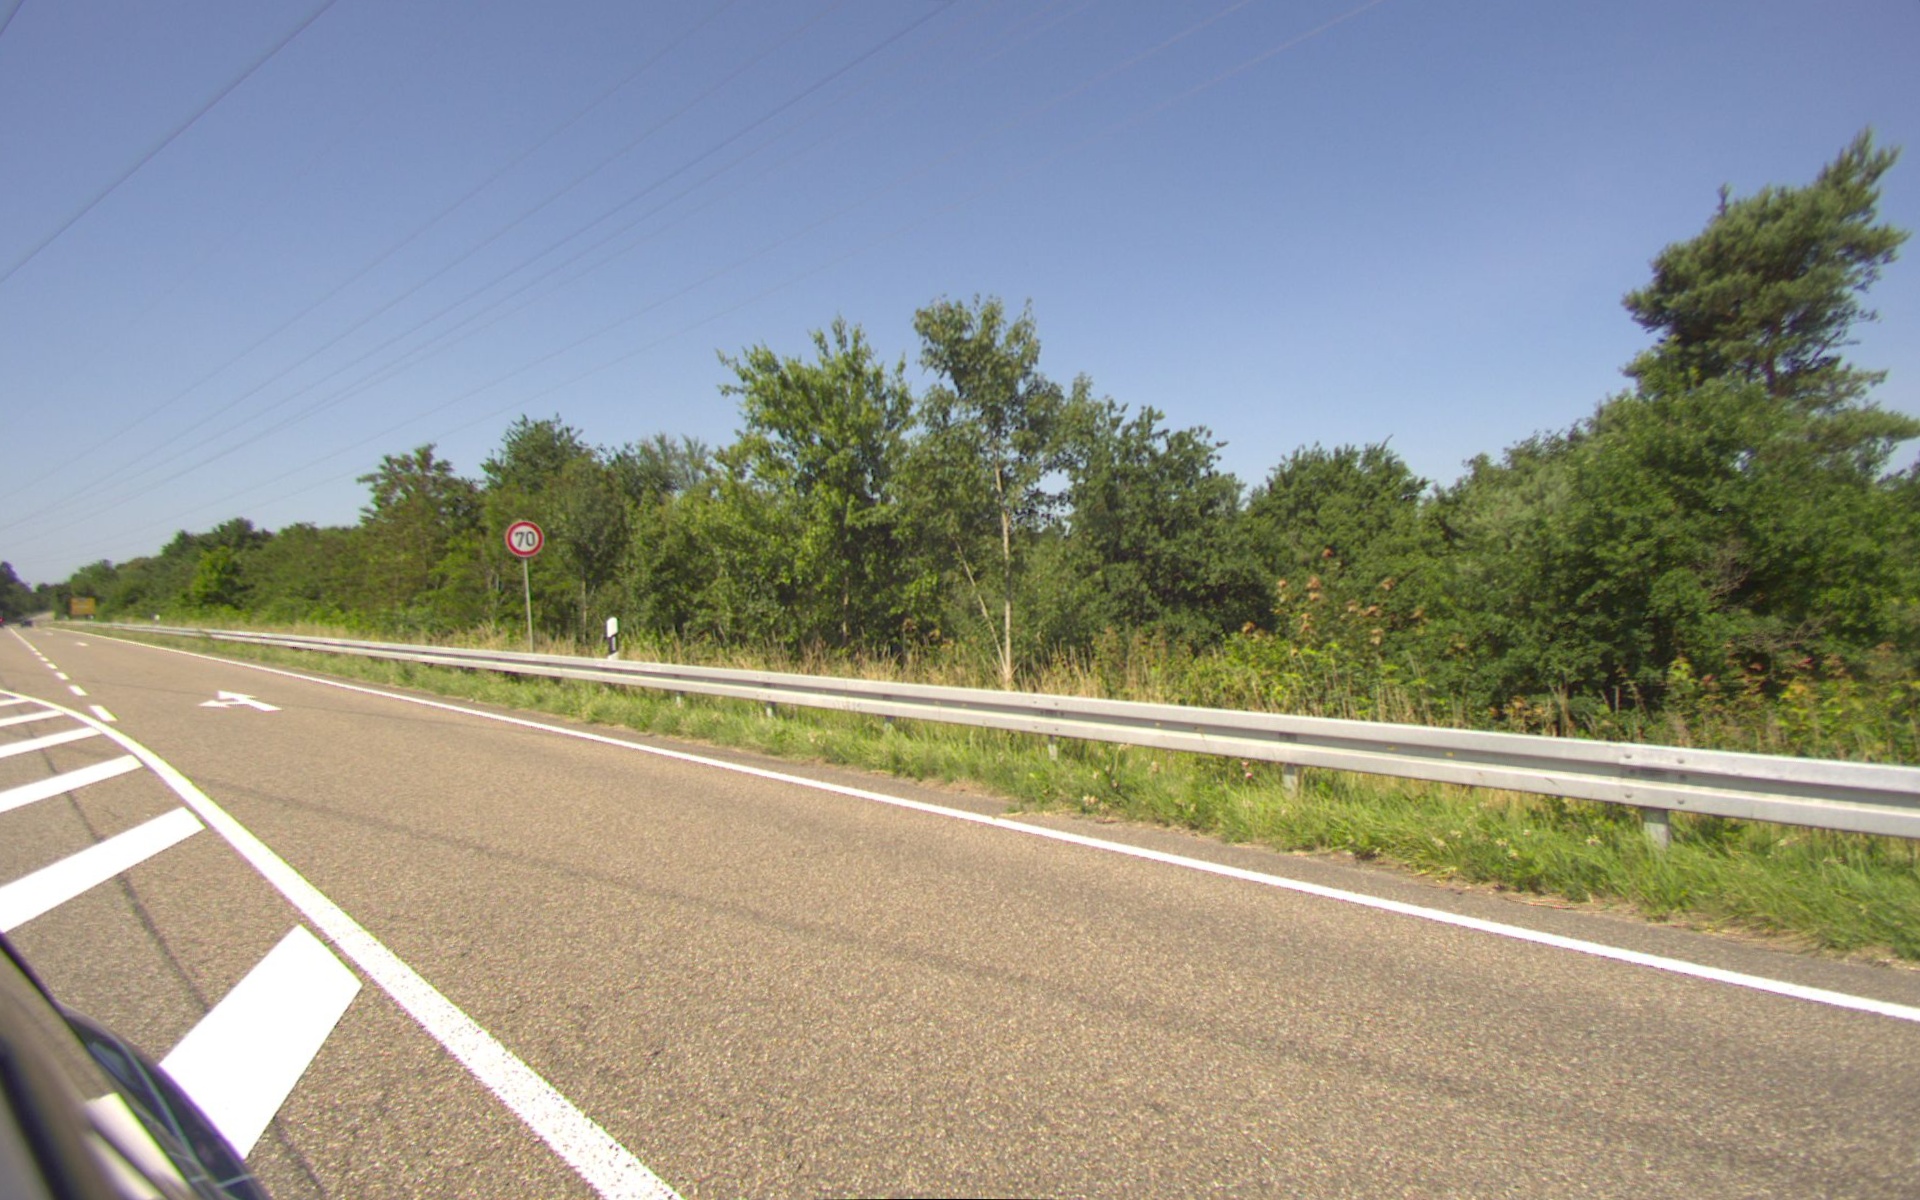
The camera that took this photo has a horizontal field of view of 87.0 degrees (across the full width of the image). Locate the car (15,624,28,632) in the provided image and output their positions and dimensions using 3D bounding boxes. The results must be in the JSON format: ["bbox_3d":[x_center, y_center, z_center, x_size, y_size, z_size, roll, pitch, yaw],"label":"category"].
[{"bbox_3d":[-177.804,5.315,191.743,1.807,1.595,4.004,2,-2,-43],"label":"car"}]
